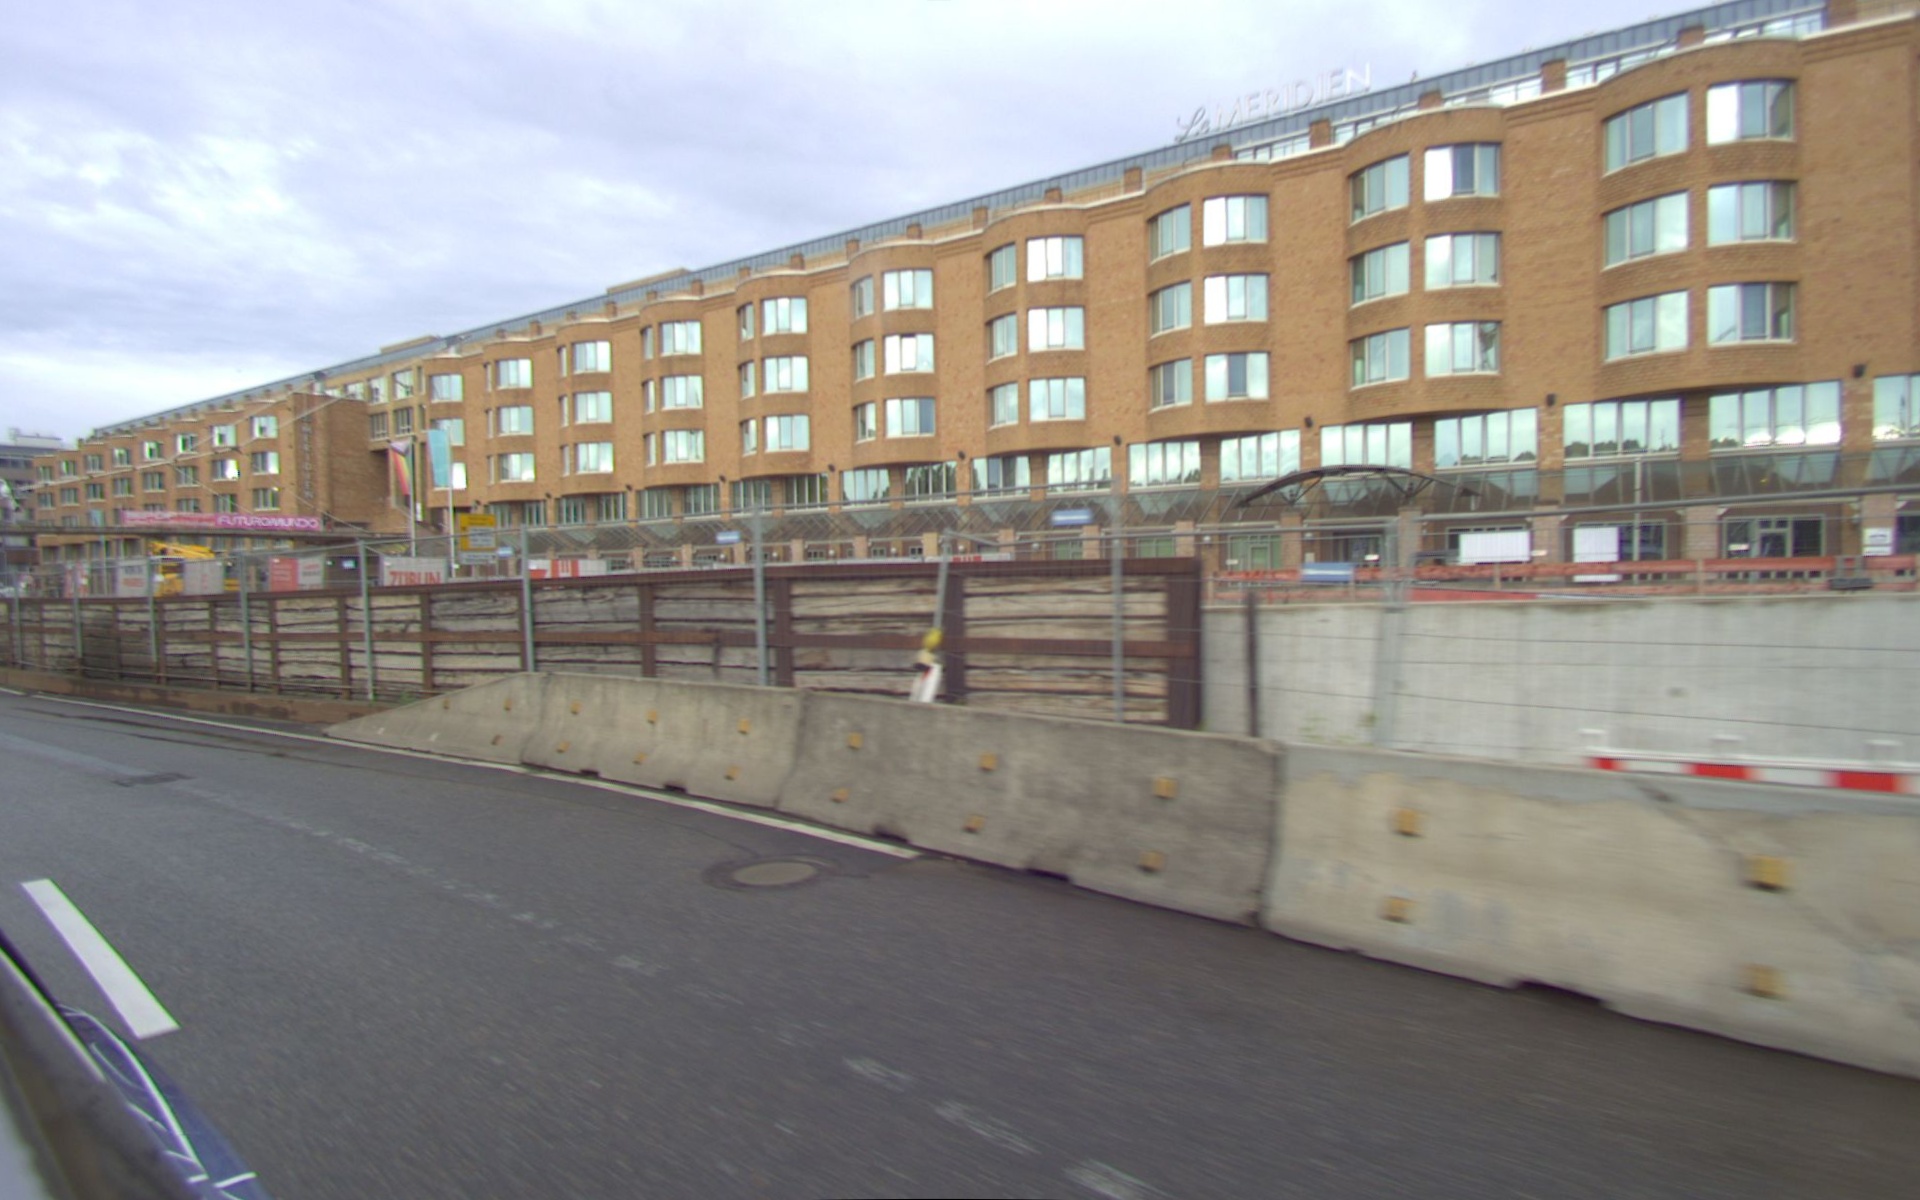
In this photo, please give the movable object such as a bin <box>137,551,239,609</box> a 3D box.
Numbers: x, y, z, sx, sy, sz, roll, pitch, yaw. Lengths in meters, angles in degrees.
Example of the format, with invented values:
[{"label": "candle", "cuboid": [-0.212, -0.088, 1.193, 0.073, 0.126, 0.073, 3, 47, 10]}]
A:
[{"label": "movable object such as a bin", "cuboid": [-33.090, -0.816, 43.362, 4.278, 2.295, 2.011, -1, -2, 31]}]
